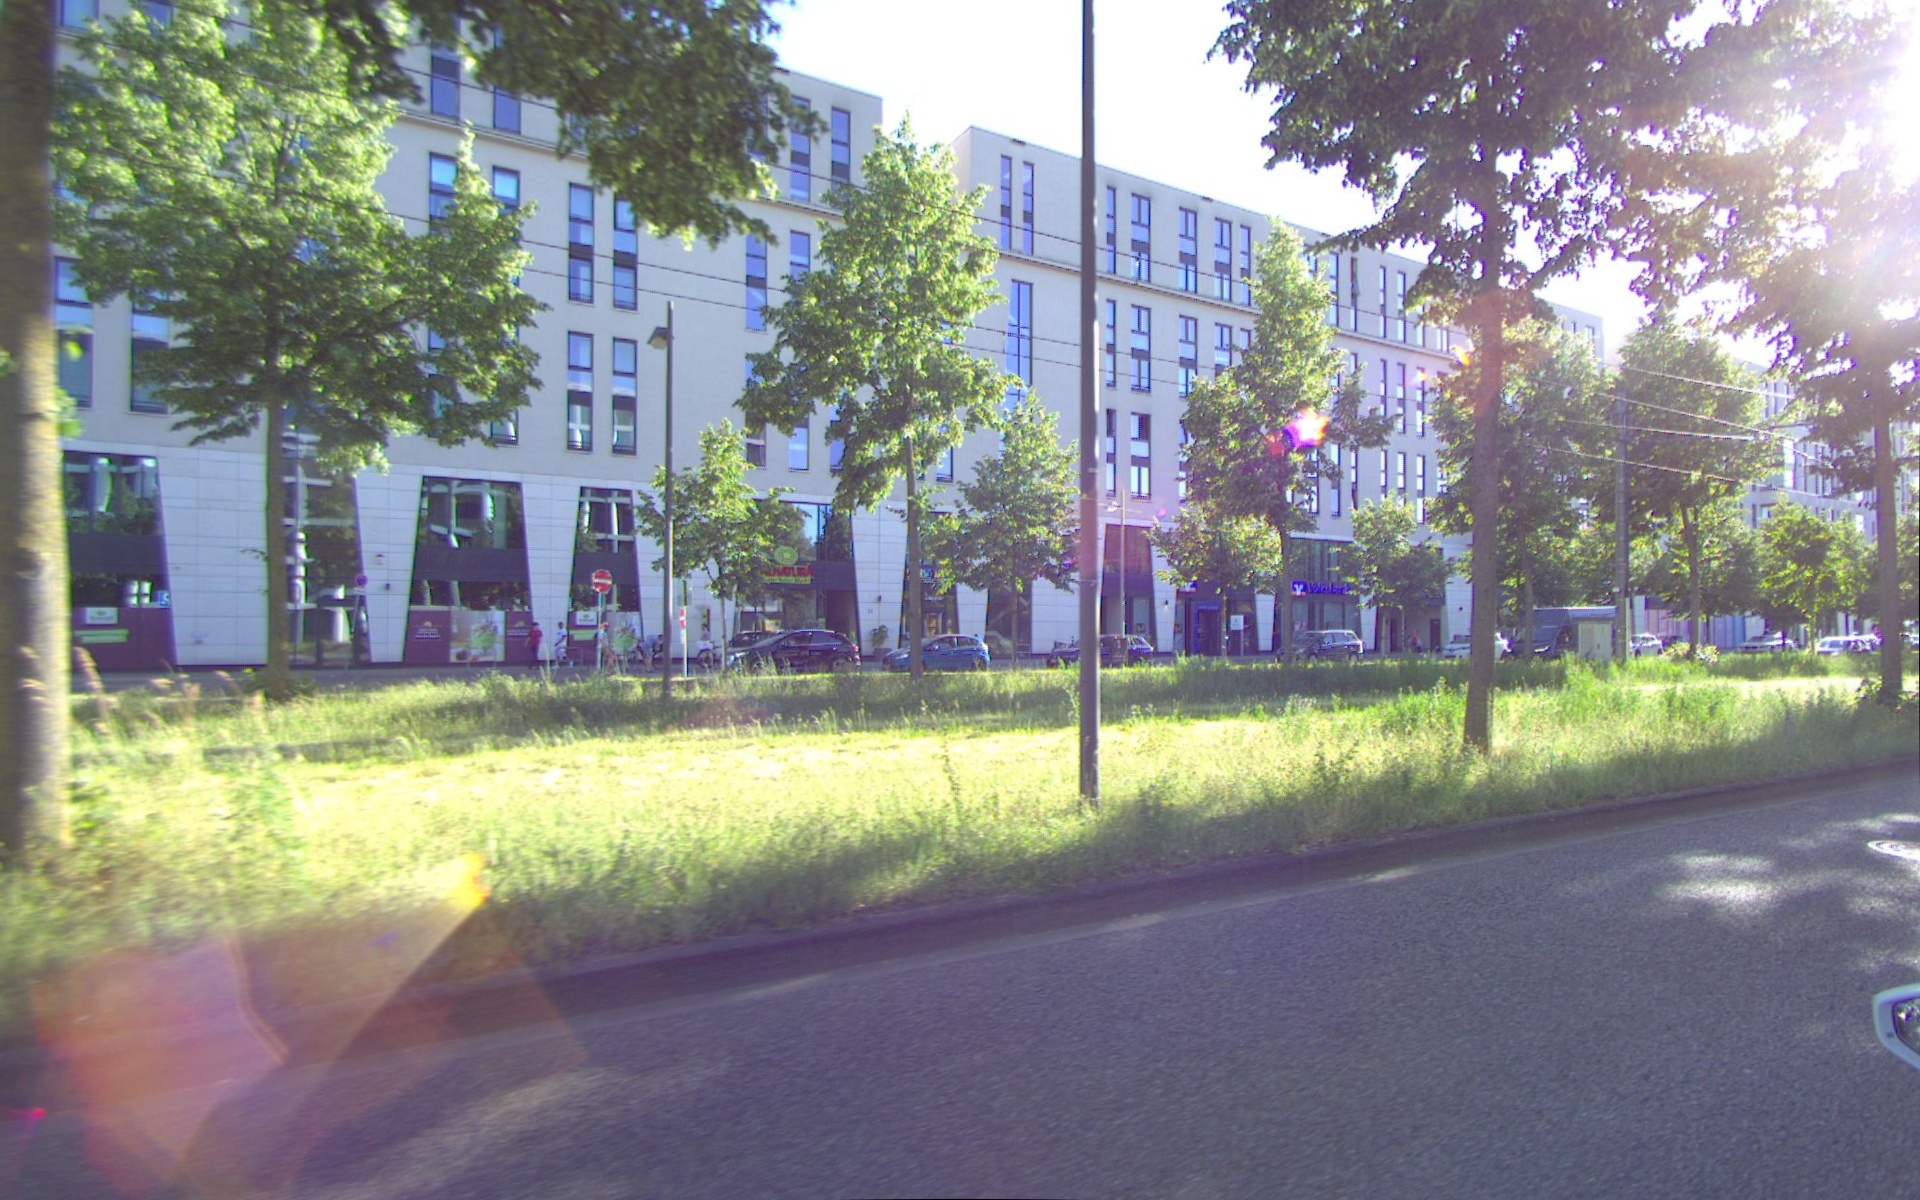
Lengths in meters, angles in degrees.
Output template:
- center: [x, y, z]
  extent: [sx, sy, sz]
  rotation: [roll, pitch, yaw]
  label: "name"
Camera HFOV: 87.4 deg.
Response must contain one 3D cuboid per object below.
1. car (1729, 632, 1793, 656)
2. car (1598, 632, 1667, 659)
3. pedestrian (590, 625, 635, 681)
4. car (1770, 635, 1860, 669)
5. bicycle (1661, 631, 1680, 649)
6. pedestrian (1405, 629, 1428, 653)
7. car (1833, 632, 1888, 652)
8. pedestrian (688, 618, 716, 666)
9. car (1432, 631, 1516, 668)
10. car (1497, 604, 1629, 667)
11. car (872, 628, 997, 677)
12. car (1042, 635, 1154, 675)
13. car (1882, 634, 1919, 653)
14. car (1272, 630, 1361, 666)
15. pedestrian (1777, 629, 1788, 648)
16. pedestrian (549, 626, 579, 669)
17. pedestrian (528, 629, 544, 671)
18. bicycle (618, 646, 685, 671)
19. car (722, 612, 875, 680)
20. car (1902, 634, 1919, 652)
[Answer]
- center: [54.910, 3.014, 68.860]
  extent: [4.872, 1.460, 1.982]
  rotation: [2, 0, -33]
  label: "car"
- center: [40.036, 2.722, 59.800]
  extent: [3.976, 1.460, 1.982]
  rotation: [2, 0, -33]
  label: "car"
- center: [-11.326, 1.726, 32.732]
  extent: [1.208, 1.766, 0.838]
  rotation: [2, 0, -30]
  label: "pedestrian"
- center: [40.674, 2.473, 47.776]
  extent: [4.406, 1.460, 1.983]
  rotation: [2, 0, -32]
  label: "car"
- center: [53.961, 3.037, 76.307]
  extent: [1.591, 1.298, 0.594]
  rotation: [2, 0, -33]
  label: "bicycle"
- center: [28.672, 2.559, 63.150]
  extent: [1.019, 1.487, 0.939]
  rotation: [2, 0, -39]
  label: "pedestrian"
- center: [68.992, 3.222, 76.958]
  extent: [4.728, 1.460, 1.982]
  rotation: [2, 0, -33]
  label: "car"
- center: [-10.292, 1.673, 40.080]
  extent: [0.951, 1.880, 0.654]
  rotation: [2, 0, -27]
  label: "pedestrian"
- center: [26.605, 2.541, 51.987]
  extent: [4.292, 1.752, 1.982]
  rotation: [2, 0, -33]
  label: "car"
- center: [25.255, 1.481, 41.998]
  extent: [5.968, 2.413, 2.489]
  rotation: [2, 0, -35]
  label: "car"
- center: [-0.874, 1.808, 35.306]
  extent: [3.953, 1.592, 1.984]
  rotation: [1, -1, -30]
  label: "car"
- center: [5.377, 2.085, 38.912]
  extent: [4.292, 1.432, 1.713]
  rotation: [1, -2, -34]
  label: "car"
- center: [77.797, 3.569, 82.523]
  extent: [4.408, 1.460, 1.982]
  rotation: [2, 0, -33]
  label: "car"
- center: [16.000, 2.124, 45.047]
  extent: [4.226, 1.499, 1.549]
  rotation: [1, -1, -34]
  label: "car"
- center: [76.379, 3.558, 93.268]
  extent: [0.713, 1.673, 0.631]
  rotation: [2, 0, -37]
  label: "pedestrian"
- center: [-14.500, 1.739, 36.770]
  extent: [0.951, 1.557, 0.654]
  rotation: [2, 0, -27]
  label: "pedestrian"
- center: [-15.266, 1.785, 36.162]
  extent: [0.453, 1.479, 0.600]
  rotation: [2, 0, -27]
  label: "pedestrian"
- center: [-11.344, 2.162, 36.976]
  extent: [2.300, 0.859, 0.660]
  rotation: [2, 0, -21]
  label: "bicycle"
- center: [-5.220, 1.460, 32.647]
  extent: [4.505, 2.040, 1.982]
  rotation: [1, -2, -33]
  label: "car"
- center: [82.562, 3.722, 85.747]
  extent: [4.883, 1.460, 1.982]
  rotation: [2, 0, -33]
  label: "car"
